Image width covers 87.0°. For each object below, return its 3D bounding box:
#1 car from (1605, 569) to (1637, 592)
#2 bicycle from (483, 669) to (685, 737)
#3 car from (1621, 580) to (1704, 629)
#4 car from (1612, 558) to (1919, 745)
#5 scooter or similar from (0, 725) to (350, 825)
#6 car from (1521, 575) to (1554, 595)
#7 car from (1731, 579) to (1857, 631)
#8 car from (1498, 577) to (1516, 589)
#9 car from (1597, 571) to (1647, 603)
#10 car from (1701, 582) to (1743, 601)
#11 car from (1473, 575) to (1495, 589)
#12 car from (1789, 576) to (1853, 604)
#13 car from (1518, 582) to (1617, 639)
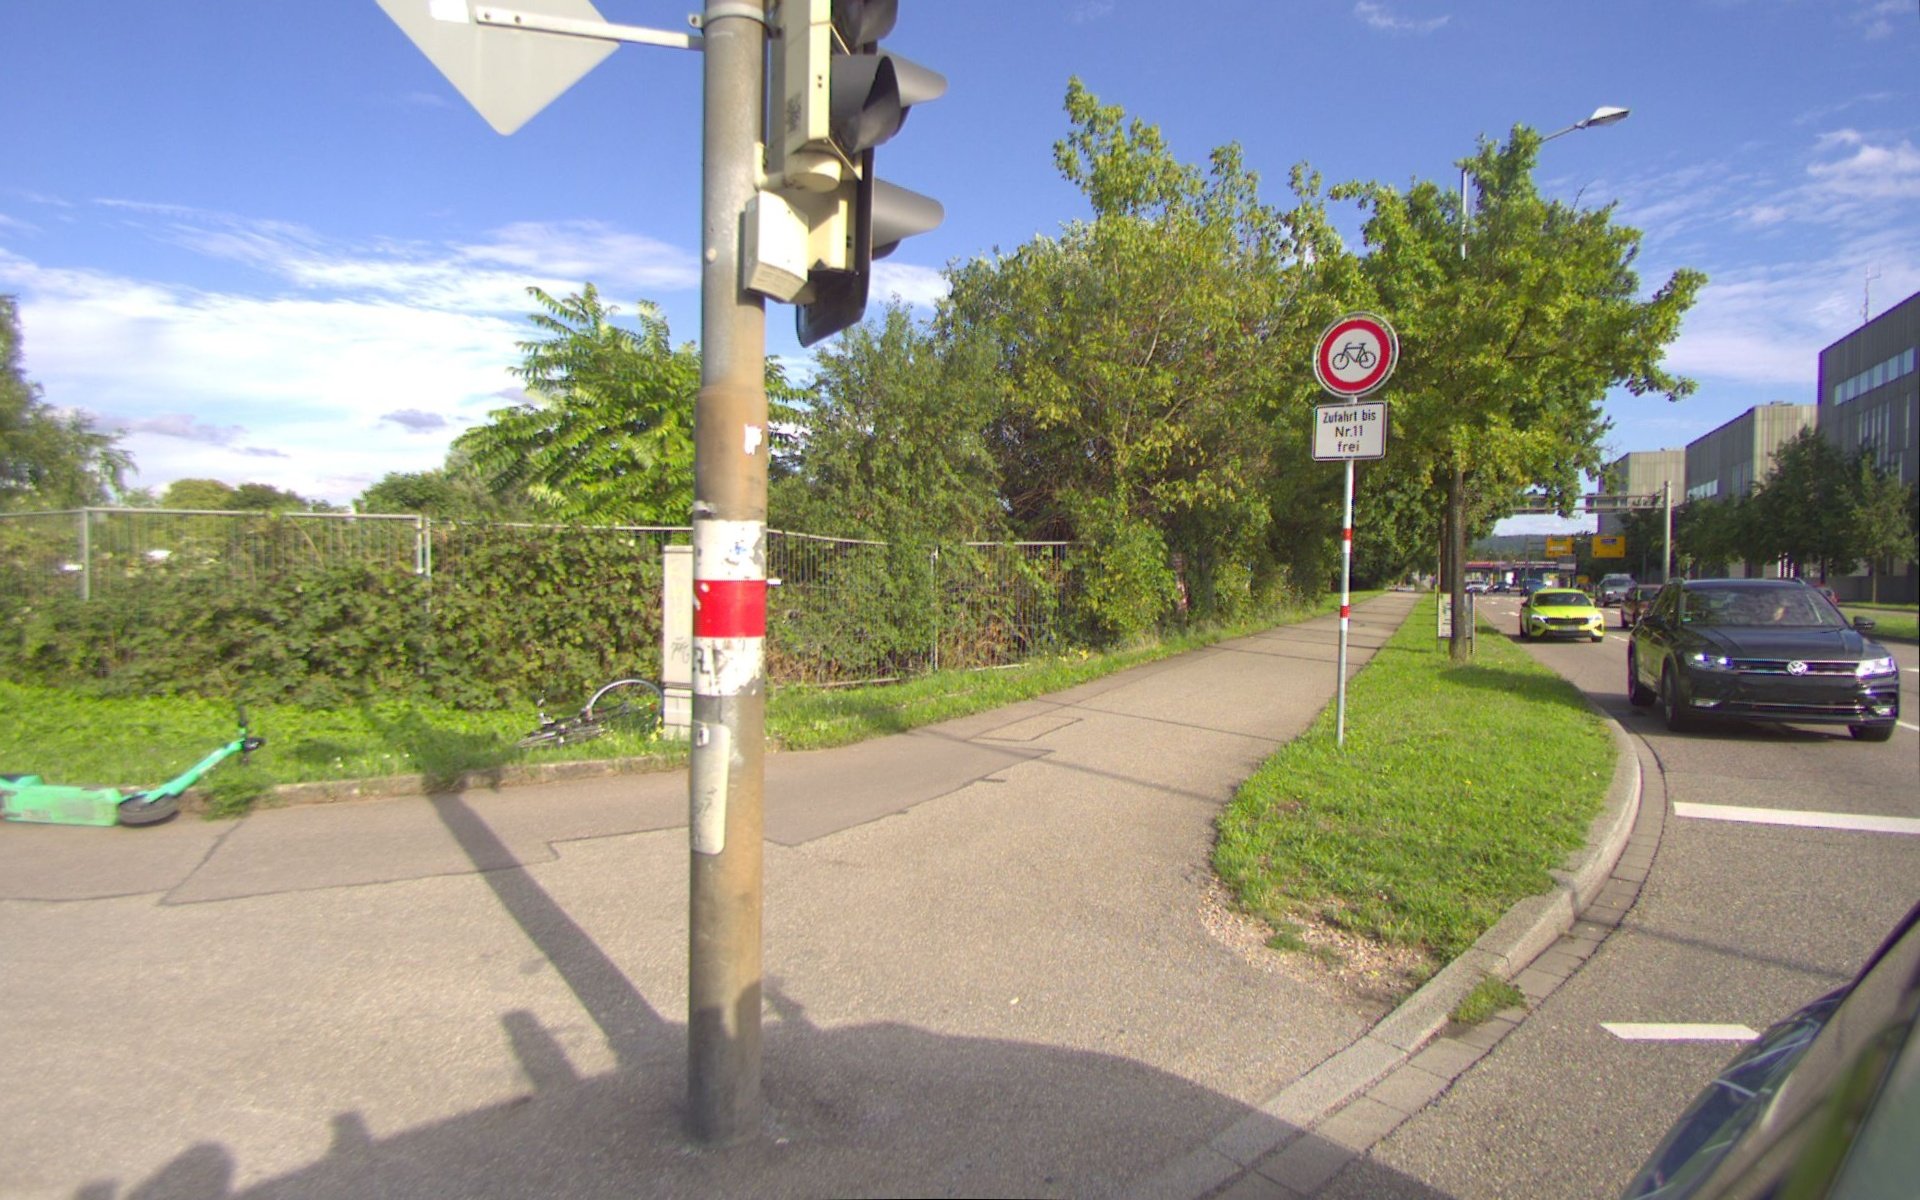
[{"bbox_3d":[70.936,-2.131,108.691,2.012,2.282,5.496,3,2,24],"label":"car"},{"bbox_3d":[-2.903,0.792,8.142,1.068,0.350,2.253,0,-1,-8],"label":"bicycle"},{"bbox_3d":[22.992,0.088,33.253,1.679,1.493,4.187,0,1,28],"label":"car"},{"bbox_3d":[9.159,0.437,11.914,1.854,1.716,4.971,-2,1,26],"label":"car"},{"bbox_3d":[-4.639,0.968,5.793,1.524,0.284,1.293,1,2,2],"label":"scooter or similar"},{"bbox_3d":[49.521,-1.308,86.866,1.979,1.682,4.764,1,2,24],"label":"car"},{"bbox_3d":[25.043,0.102,30.570,1.804,1.438,4.411,0,1,24],"label":"car"},{"bbox_3d":[67.745,-2.143,125.439,1.720,1.407,3.966,1,2,25],"label":"car"},{"bbox_3d":[36.591,-0.724,56.043,1.677,1.492,4.195,-1,4,24],"label":"car"},{"bbox_3d":[60.224,-0.720,80.044,1.837,1.451,4.033,1,1,25],"label":"car"},{"bbox_3d":[52.405,-1.826,101.228,1.720,1.407,3.966,1,2,25],"label":"car"},{"bbox_3d":[47.565,-0.593,55.965,1.667,1.451,3.563,1,2,23],"label":"car"},{"bbox_3d":[17.206,0.252,28.877,1.877,1.438,4.569,-2,0,25],"label":"car"}]
